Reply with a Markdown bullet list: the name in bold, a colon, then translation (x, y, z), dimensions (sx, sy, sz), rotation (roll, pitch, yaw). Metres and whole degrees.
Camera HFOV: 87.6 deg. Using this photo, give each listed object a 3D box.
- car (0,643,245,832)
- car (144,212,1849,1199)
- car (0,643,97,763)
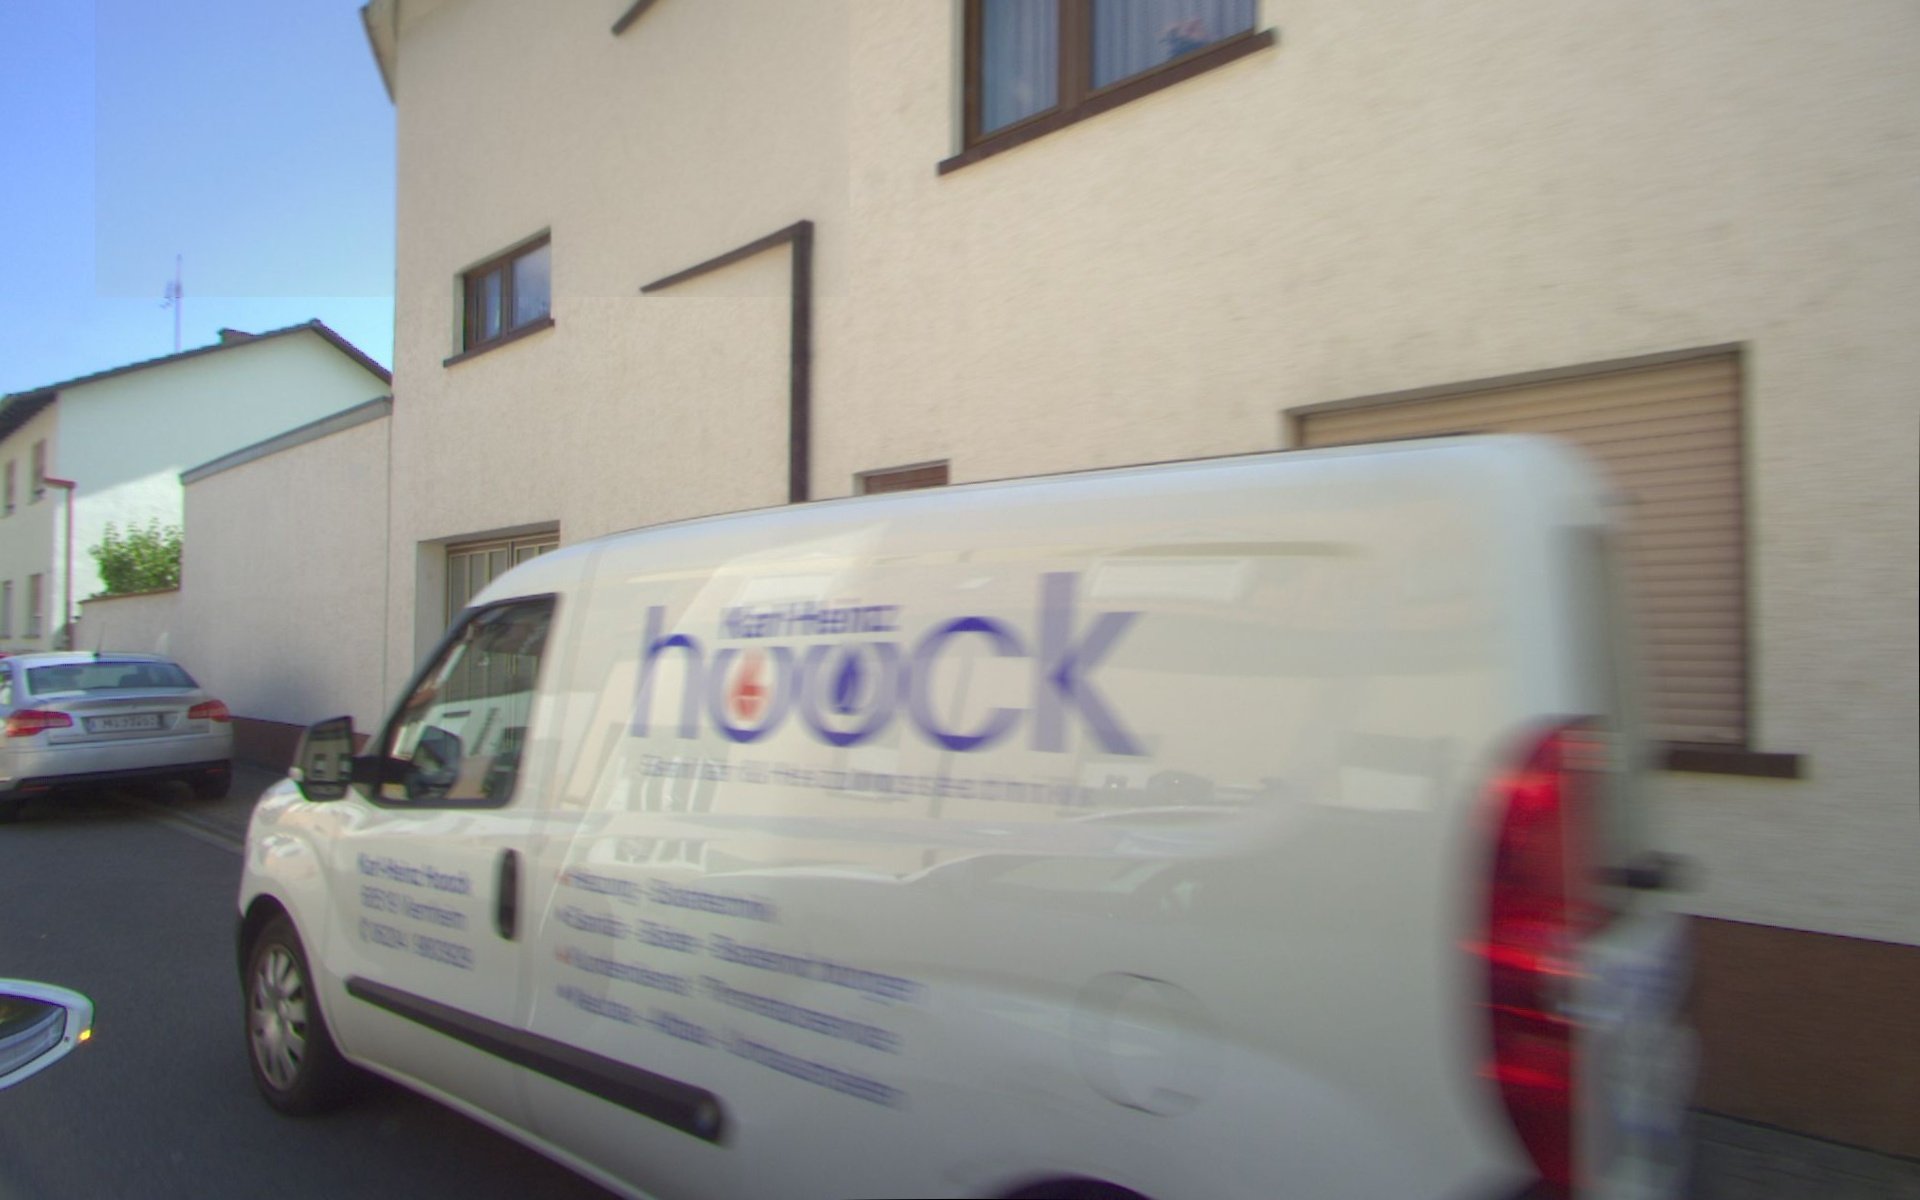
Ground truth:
- **car**: translation (-9.192, 1.220, 10.293), dimensions (4.875, 1.500, 1.783), rotation (-2, -2, 39)
- **car**: translation (-0.580, 0.691, 3.073), dimensions (4.789, 1.846, 1.805), rotation (-2, -5, 37)
- **car**: translation (-13.274, 1.322, 13.541), dimensions (4.083, 1.454, 1.643), rotation (-2, -3, 38)
